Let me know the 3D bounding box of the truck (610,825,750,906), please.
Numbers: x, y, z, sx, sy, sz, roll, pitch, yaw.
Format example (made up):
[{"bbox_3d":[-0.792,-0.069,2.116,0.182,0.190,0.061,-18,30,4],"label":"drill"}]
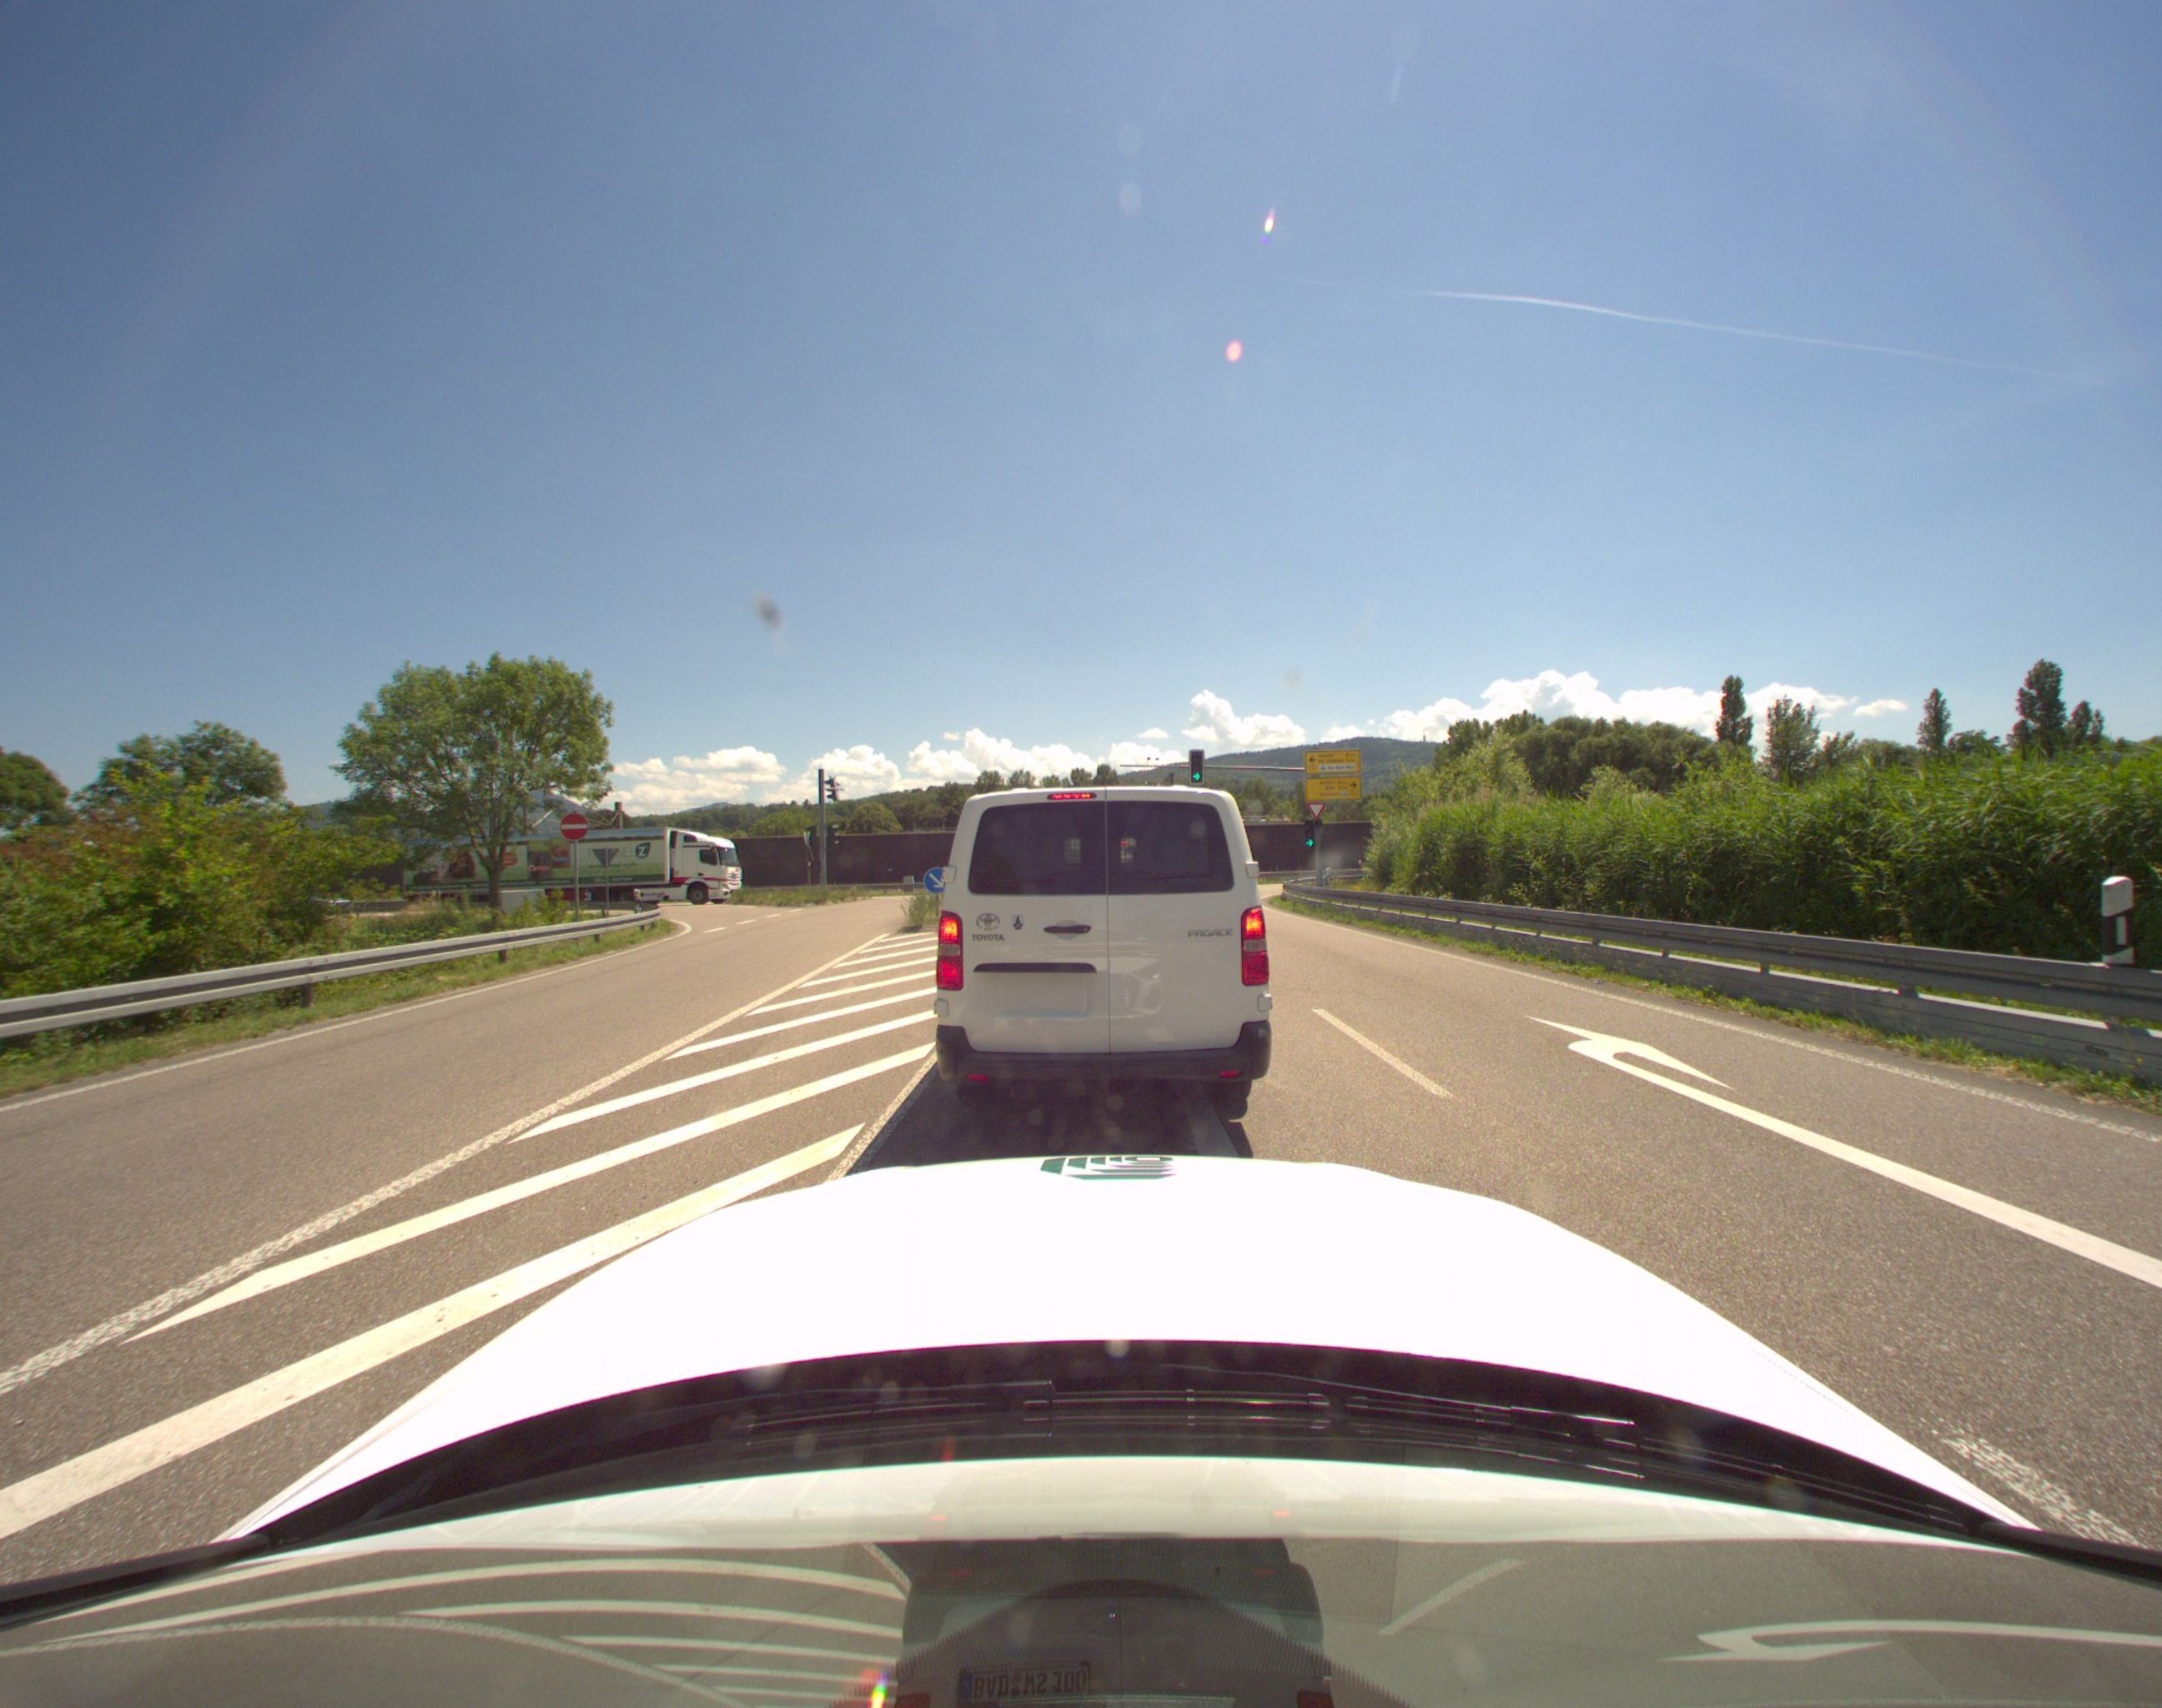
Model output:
[{"bbox_3d":[-20.955,0.593,42.795,5.746,3.954,3.062,-1,-1,0],"label":"truck"}]

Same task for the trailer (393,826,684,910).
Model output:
[{"bbox_3d":[-28.213,0.729,42.739,13.098,3.954,3.061,-1,-1,0],"label":"trailer"}]

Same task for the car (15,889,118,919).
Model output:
[{"bbox_3d":[-53.895,2.629,43.312,3.462,1.464,1.554,-1,-1,0],"label":"car"}]

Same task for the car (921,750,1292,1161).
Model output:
[{"bbox_3d":[0.183,0.522,6.058,1.808,2.017,4.001,-1,-1,2],"label":"car"}]
